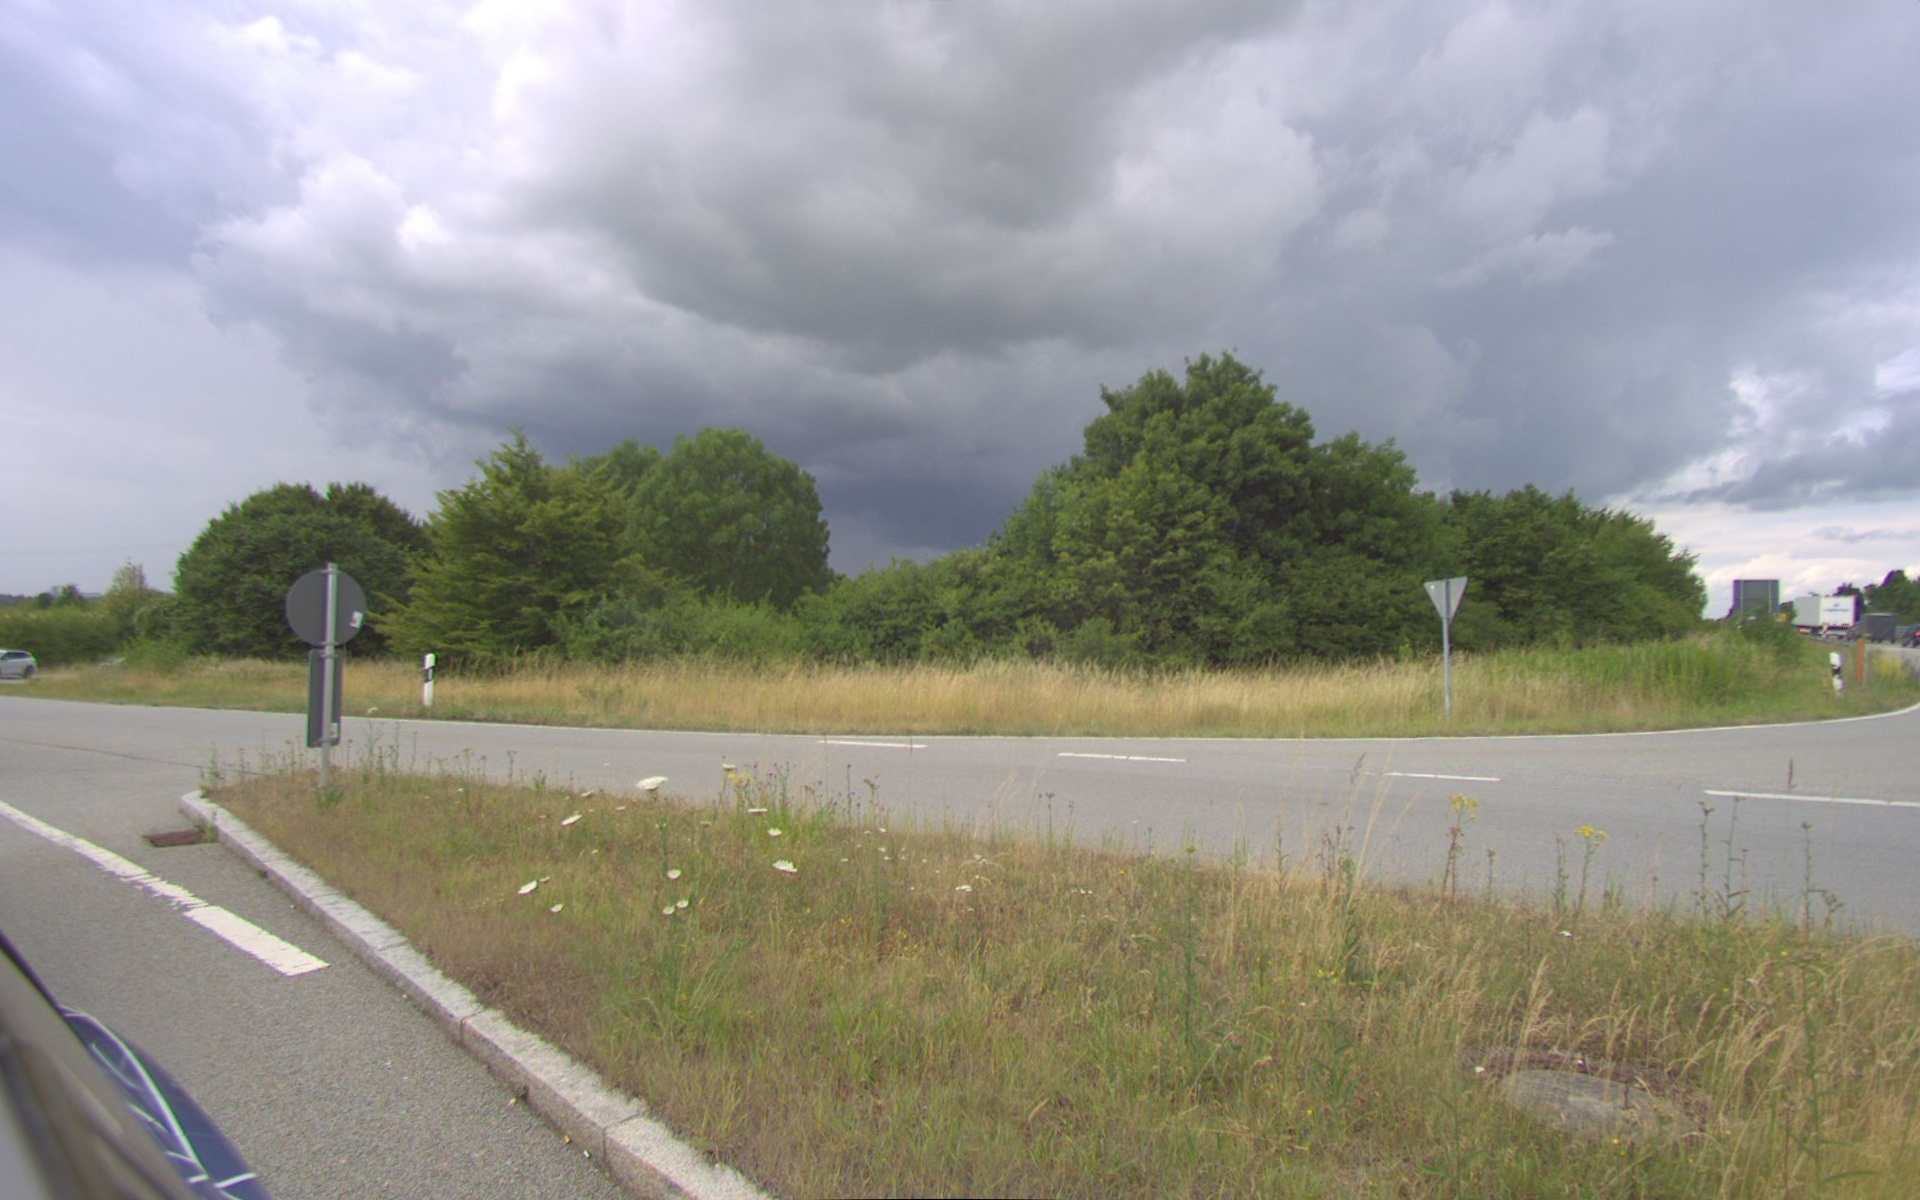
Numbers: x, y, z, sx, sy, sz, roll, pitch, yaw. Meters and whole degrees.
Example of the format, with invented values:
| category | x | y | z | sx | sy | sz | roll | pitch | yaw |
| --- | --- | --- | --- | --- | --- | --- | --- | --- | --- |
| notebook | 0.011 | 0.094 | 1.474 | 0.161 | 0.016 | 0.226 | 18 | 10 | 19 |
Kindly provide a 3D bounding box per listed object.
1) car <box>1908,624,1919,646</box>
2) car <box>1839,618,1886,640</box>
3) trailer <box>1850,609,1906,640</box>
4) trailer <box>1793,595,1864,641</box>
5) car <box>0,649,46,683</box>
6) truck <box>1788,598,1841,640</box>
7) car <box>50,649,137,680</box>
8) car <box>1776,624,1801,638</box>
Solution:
| category | x | y | z | sx | sy | sz | roll | pitch | yaw |
| --- | --- | --- | --- | --- | --- | --- | --- | --- | --- |
| car | 64.767 | 2.345 | 67.050 | 1.994 | 1.498 | 4.254 | 0 | -2 | 32 |
| car | 74.409 | 2.399 | 83.470 | 1.992 | 1.695 | 4.432 | 1 | -1 | 30 |
| trailer | 72.183 | 1.975 | 79.644 | 2.408 | 2.310 | 4.349 | 1 | -1 | 31 |
| trailer | 84.227 | 1.788 | 98.402 | 3.119 | 4.044 | 13.734 | 1 | -1 | 32 |
| car | -53.497 | 3.649 | 55.929 | 1.967 | 1.732 | 5.220 | 3 | -3 | -11 |
| truck | 87.758 | 1.947 | 104.006 | 3.119 | 4.044 | 7.227 | 1 | -1 | 32 |
| car | -55.228 | 4.072 | 64.665 | 1.967 | 1.732 | 5.222 | 3 | -3 | -13 |
| car | 101.035 | 3.785 | 123.476 | 1.995 | 1.614 | 4.174 | -1 | -3 | 34 |
